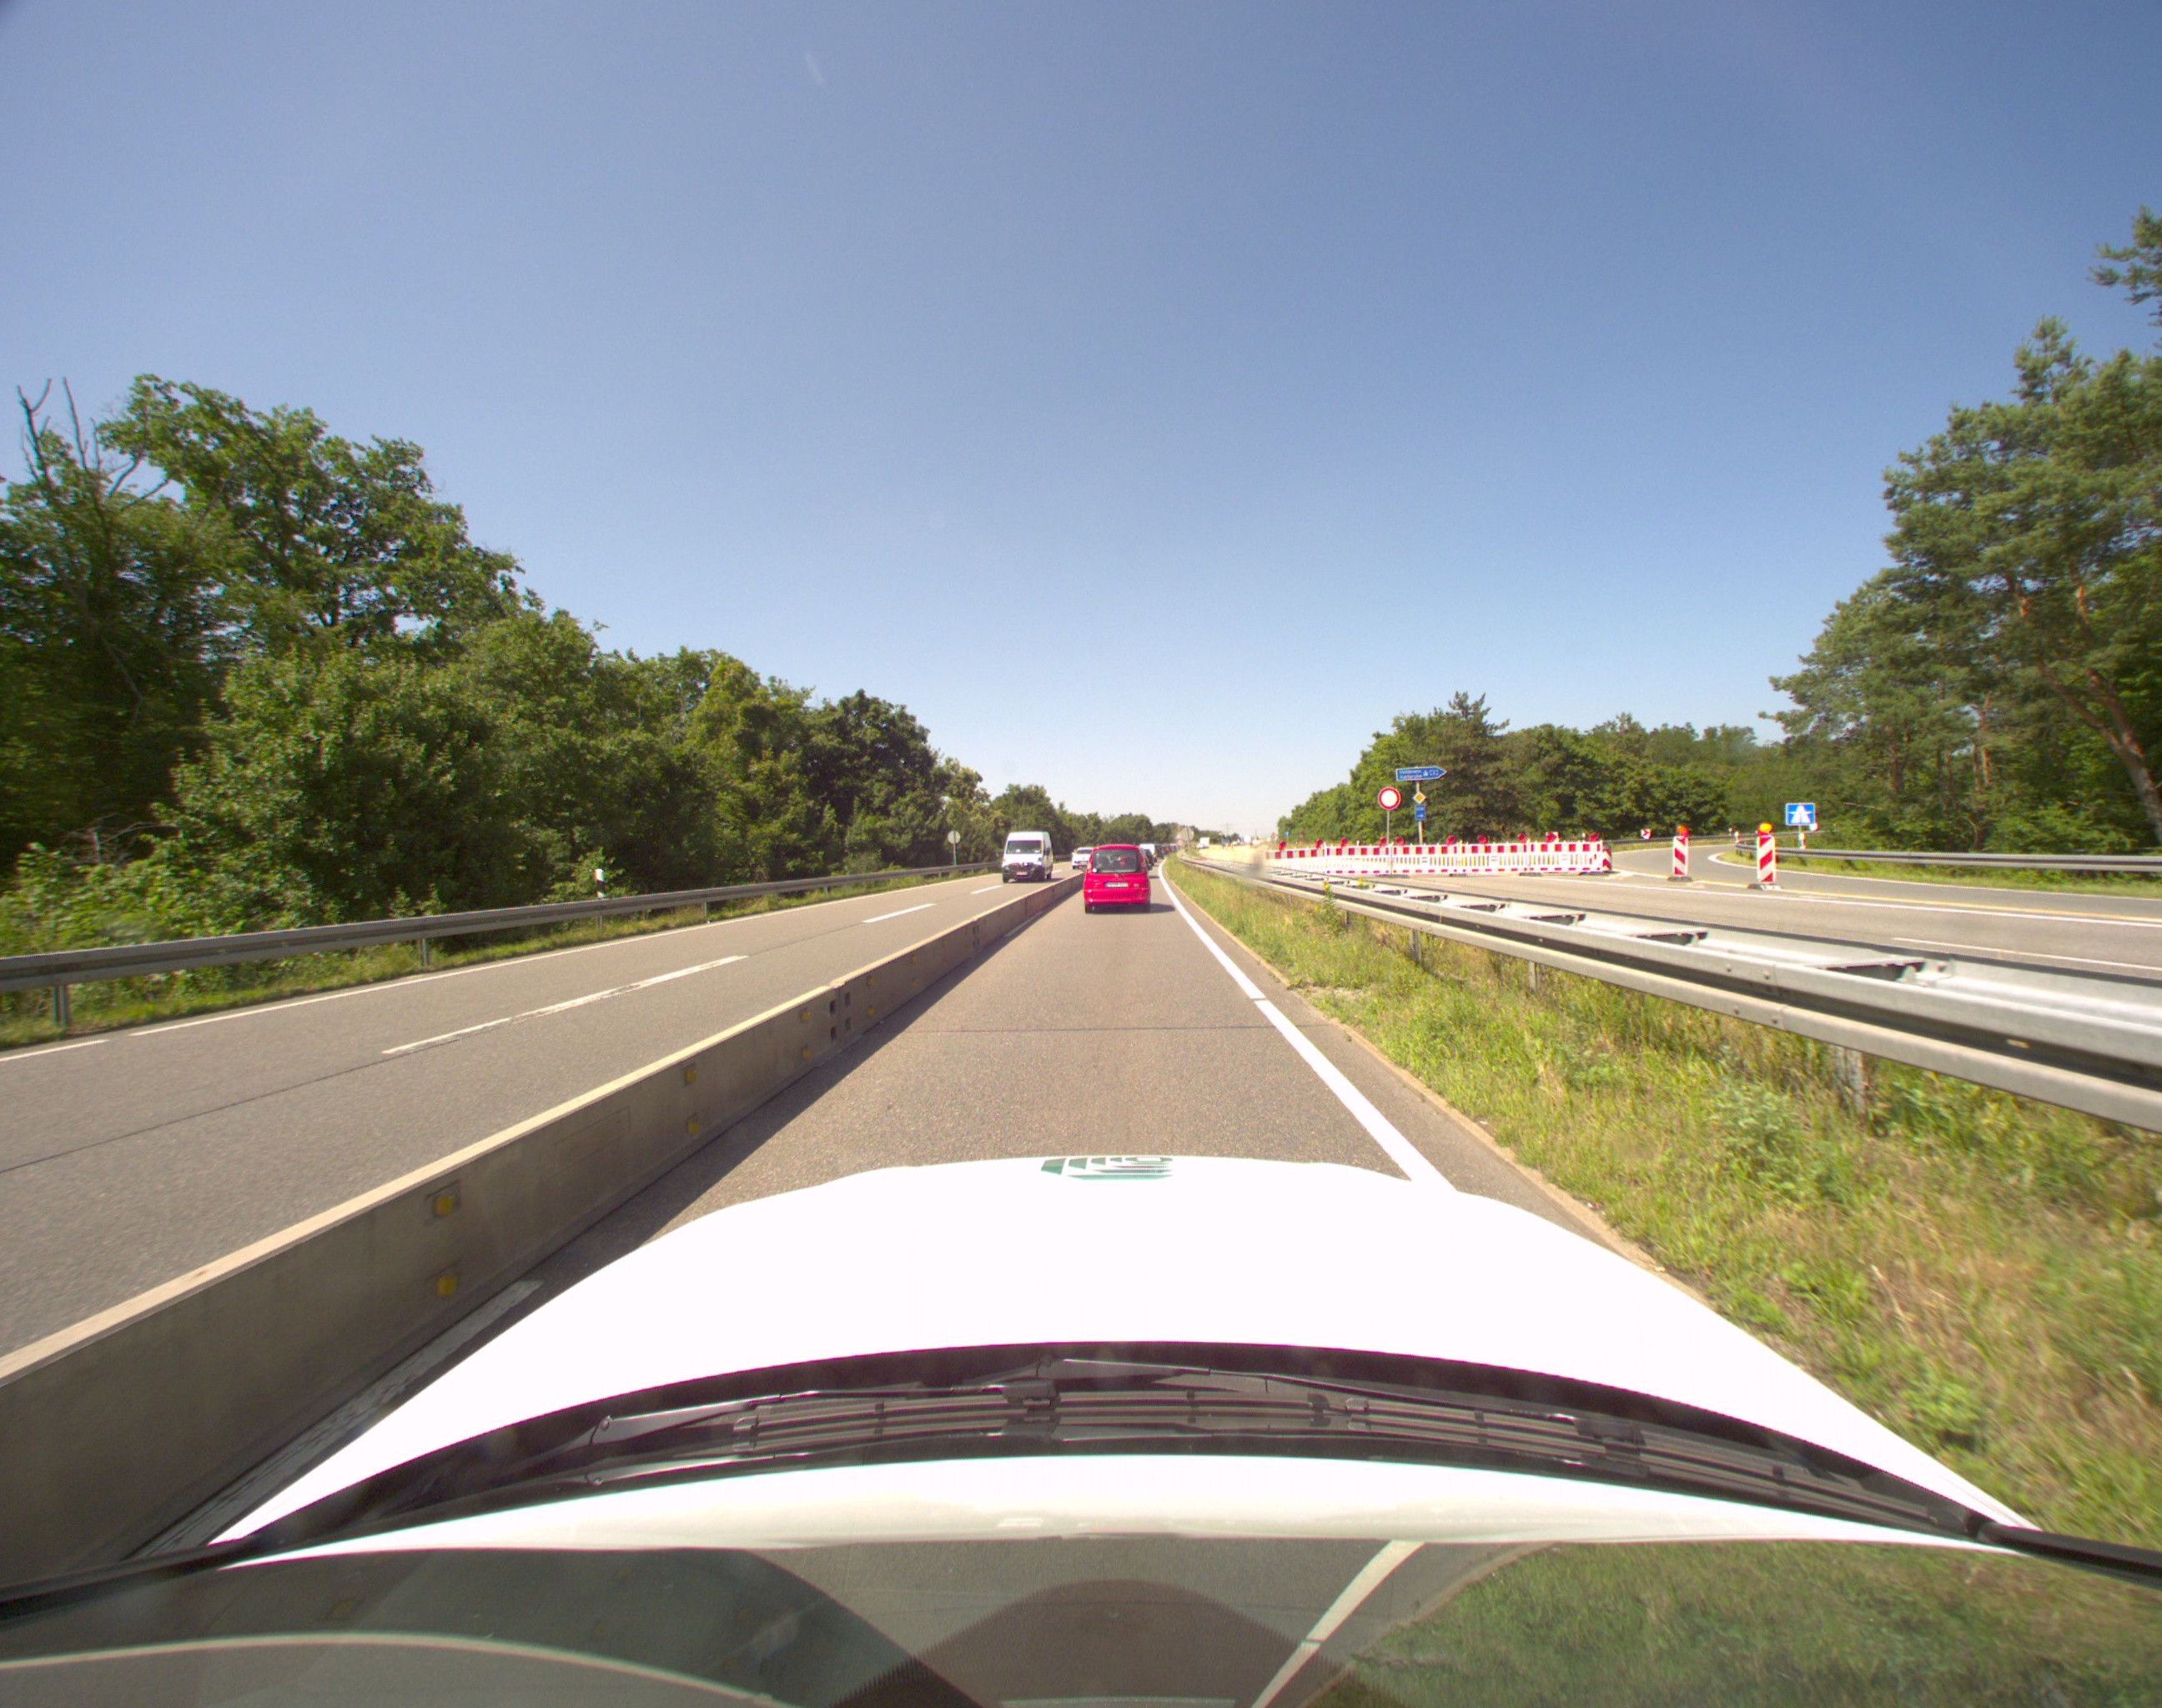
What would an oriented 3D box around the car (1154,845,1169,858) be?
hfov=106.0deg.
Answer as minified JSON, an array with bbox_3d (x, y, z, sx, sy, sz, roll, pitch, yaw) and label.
[{"bbox_3d":[11.618,-0.330,117.596,1.985,1.783,4.004,-2,0,3],"label":"car"}]

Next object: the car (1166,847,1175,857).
[{"bbox_3d":[15.898,-0.349,145.012,1.493,1.736,3.178,-1,0,9],"label":"car"}]

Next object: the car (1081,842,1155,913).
[{"bbox_3d":[1.016,0.548,21.334,1.744,1.673,4.004,-1,0,4],"label":"car"}]

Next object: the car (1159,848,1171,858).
[{"bbox_3d":[13.819,-0.148,133.760,1.983,1.585,4.008,-1,0,7],"label":"car"}]

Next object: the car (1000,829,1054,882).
[{"bbox_3d":[-2.631,0.063,41.156,2.053,2.485,5.564,-1,0,2],"label":"car"}]

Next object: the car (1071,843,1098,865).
[{"bbox_3d":[0.281,-0.015,62.951,1.841,1.601,4.325,-2,0,3],"label":"car"}]

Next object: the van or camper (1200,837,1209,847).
[{"bbox_3d":[35.475,-3.423,233.237,2.316,2.706,4.602,-2,0,6],"label":"van or camper"}]

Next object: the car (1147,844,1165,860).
[{"bbox_3d":[8.900,-0.261,97.025,1.985,1.750,4.003,-2,0,3],"label":"car"}]

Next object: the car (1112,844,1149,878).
[{"bbox_3d":[2.637,0.337,43.042,1.822,1.722,4.004,0,0,4],"label":"car"}]

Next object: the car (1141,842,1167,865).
[{"bbox_3d":[6.030,-0.036,67.557,1.984,1.838,4.005,-2,0,5],"label":"car"}]

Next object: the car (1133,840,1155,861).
[{"bbox_3d":[6.286,-0.343,81.552,1.986,2.003,4.001,-2,0,1],"label":"car"}]
